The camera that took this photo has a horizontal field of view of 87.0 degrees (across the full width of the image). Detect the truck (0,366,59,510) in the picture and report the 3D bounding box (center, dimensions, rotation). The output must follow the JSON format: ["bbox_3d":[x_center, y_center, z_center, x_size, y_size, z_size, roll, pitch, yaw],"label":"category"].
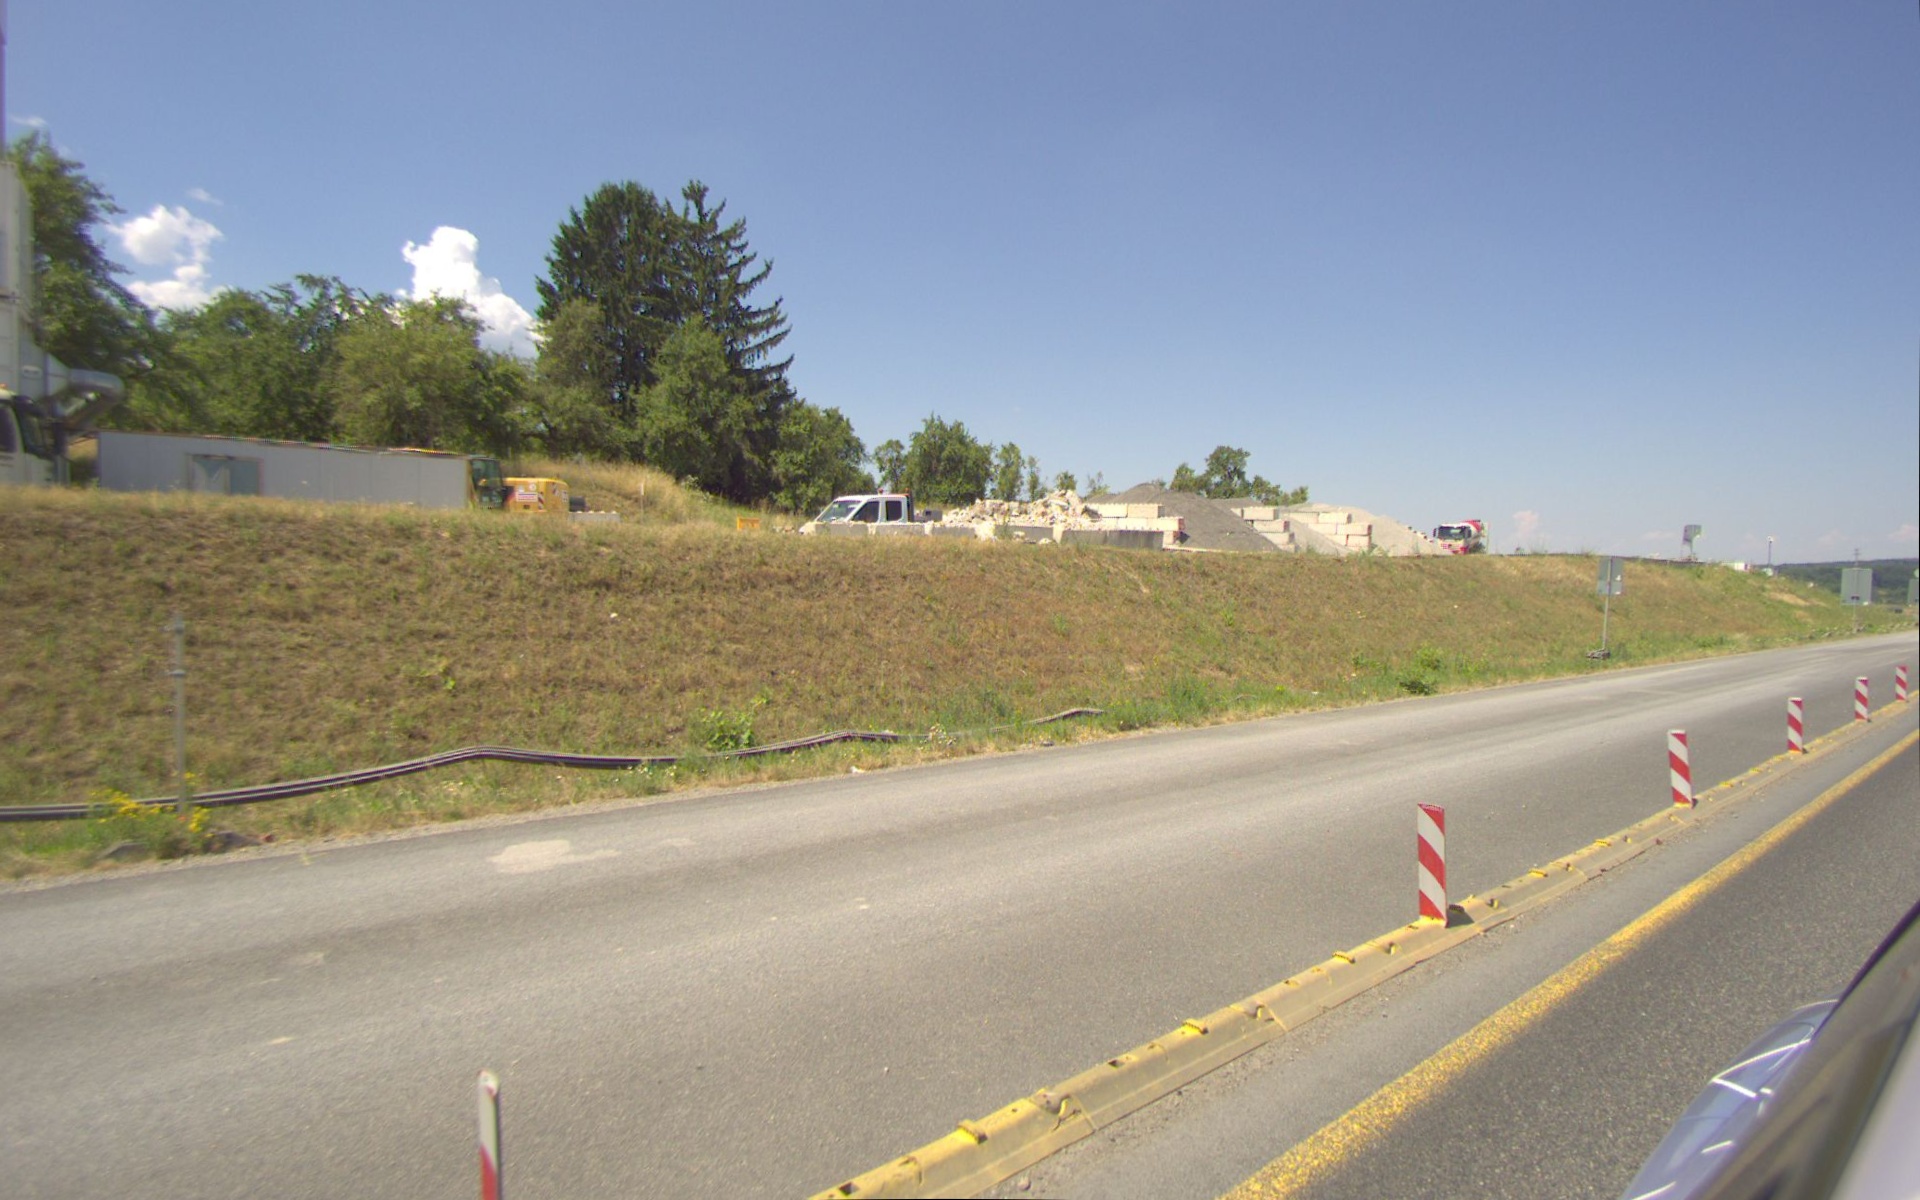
[{"bbox_3d":[-19.957,-3.169,19.309,3.967,2.577,2.022,-1,0,-38],"label":"truck"}]

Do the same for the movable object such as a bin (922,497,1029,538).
[{"bbox_3d":[0.342,-1.678,20.809,2.210,0.690,0.837,-1,0,-41],"label":"movable object such as a bin"}]

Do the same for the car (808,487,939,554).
[{"bbox_3d":[-2.643,-2.382,31.161,3.539,1.785,1.989,-1,0,-41],"label":"car"}]

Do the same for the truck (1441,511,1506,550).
[{"bbox_3d":[44.040,-5.897,86.655,8.915,2.855,2.218,-1,0,-44],"label":"truck"}]
